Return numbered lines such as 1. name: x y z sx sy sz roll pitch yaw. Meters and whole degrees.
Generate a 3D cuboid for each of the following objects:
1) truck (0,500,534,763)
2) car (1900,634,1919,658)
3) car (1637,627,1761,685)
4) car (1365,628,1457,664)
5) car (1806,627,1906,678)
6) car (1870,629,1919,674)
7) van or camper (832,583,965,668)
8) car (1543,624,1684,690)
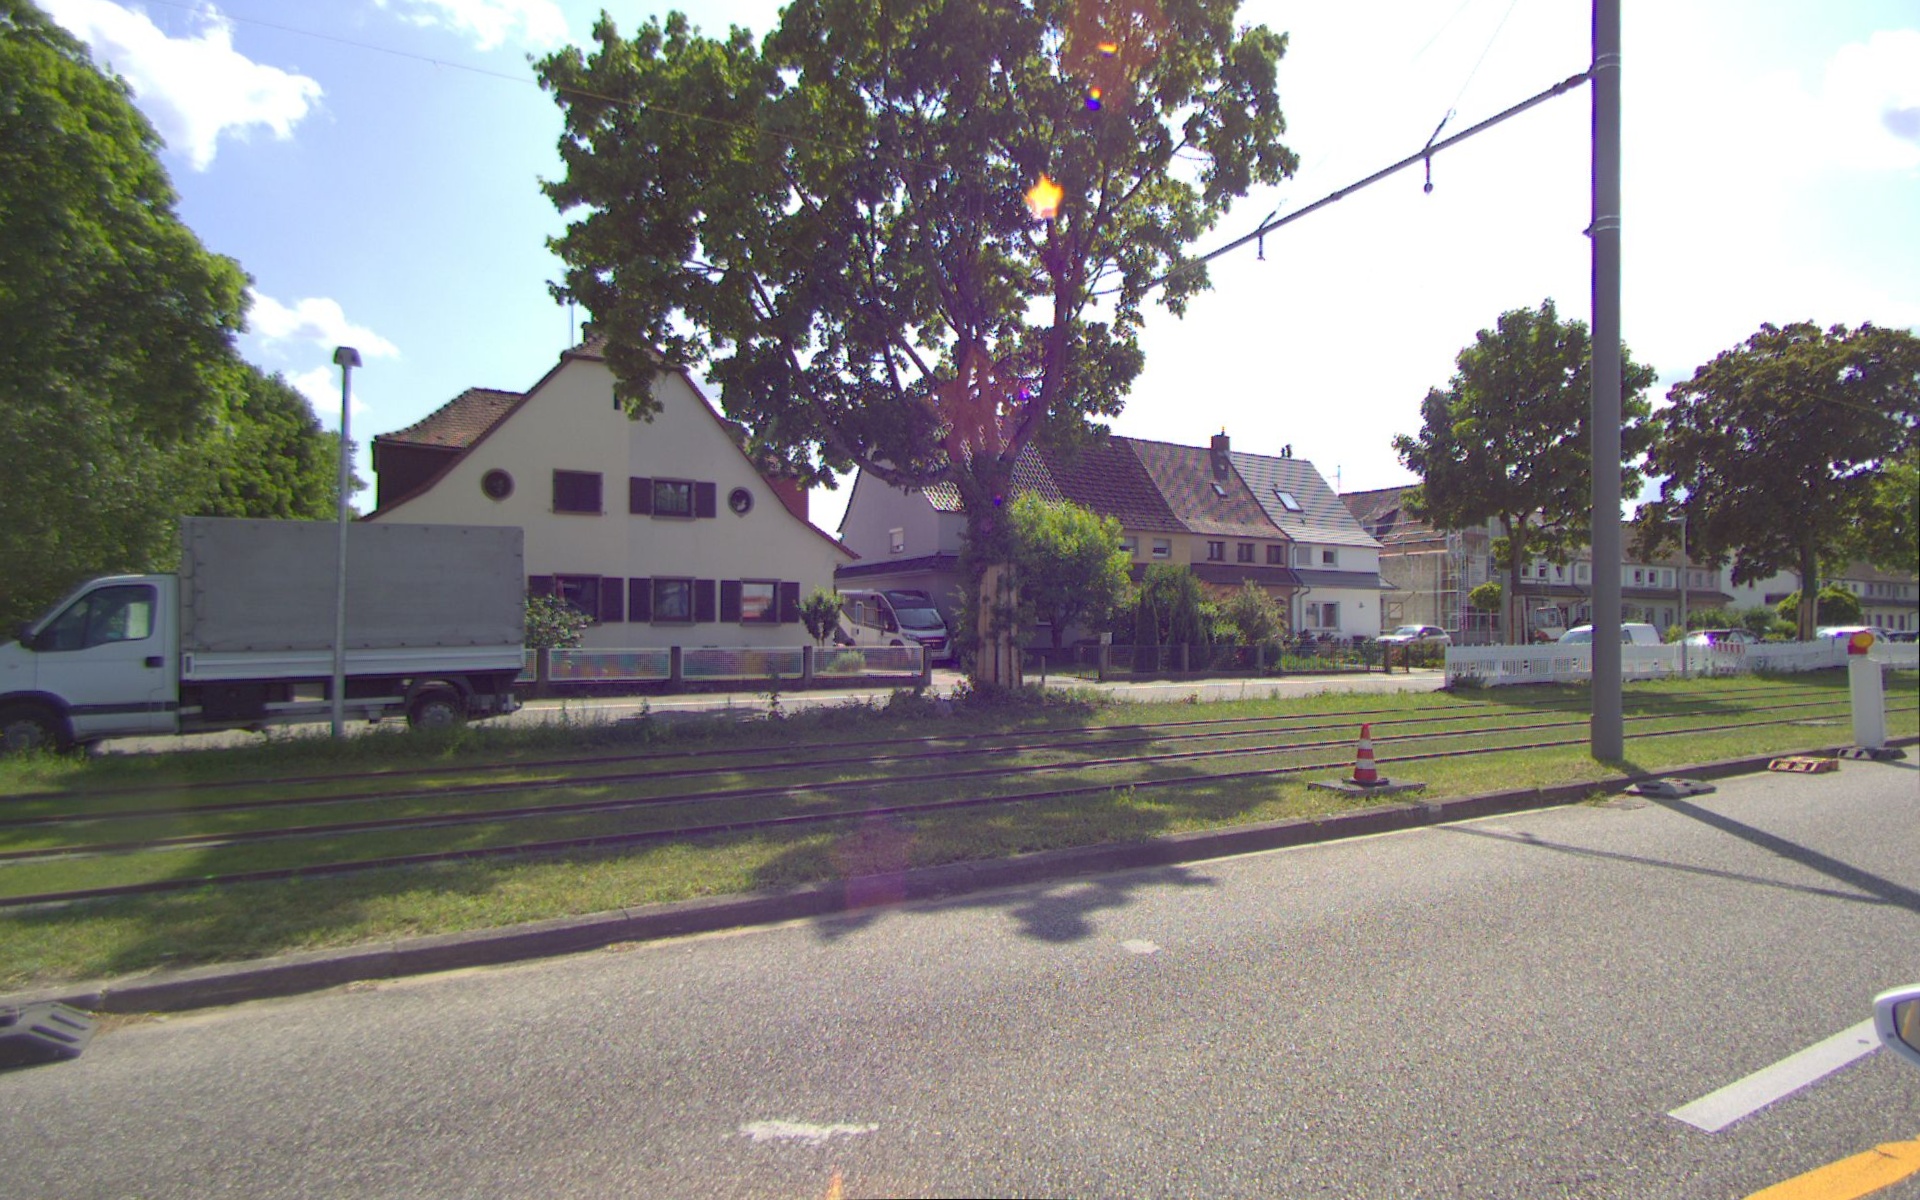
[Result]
1. truck: -8.832 0.406 12.965 5.906 2.817 2.255 1 -2 -31
2. car: 70.031 3.305 72.743 4.079 1.745 1.768 1 -2 -30
3. car: 24.292 1.796 32.997 4.177 1.797 1.768 1 -2 -30
4. car: 19.991 1.993 44.491 3.952 1.539 1.768 1 -2 -30
5. car: 35.363 2.032 39.636 4.079 1.892 1.768 1 -2 -30
6. car: 40.647 2.166 42.692 4.079 1.829 1.768 1 -2 -30
7. van or camper: -2.368 0.942 36.636 2.269 2.801 6.051 1 -2 -32
8. car: 19.563 1.646 30.038 4.312 1.845 1.768 1 -2 -30
